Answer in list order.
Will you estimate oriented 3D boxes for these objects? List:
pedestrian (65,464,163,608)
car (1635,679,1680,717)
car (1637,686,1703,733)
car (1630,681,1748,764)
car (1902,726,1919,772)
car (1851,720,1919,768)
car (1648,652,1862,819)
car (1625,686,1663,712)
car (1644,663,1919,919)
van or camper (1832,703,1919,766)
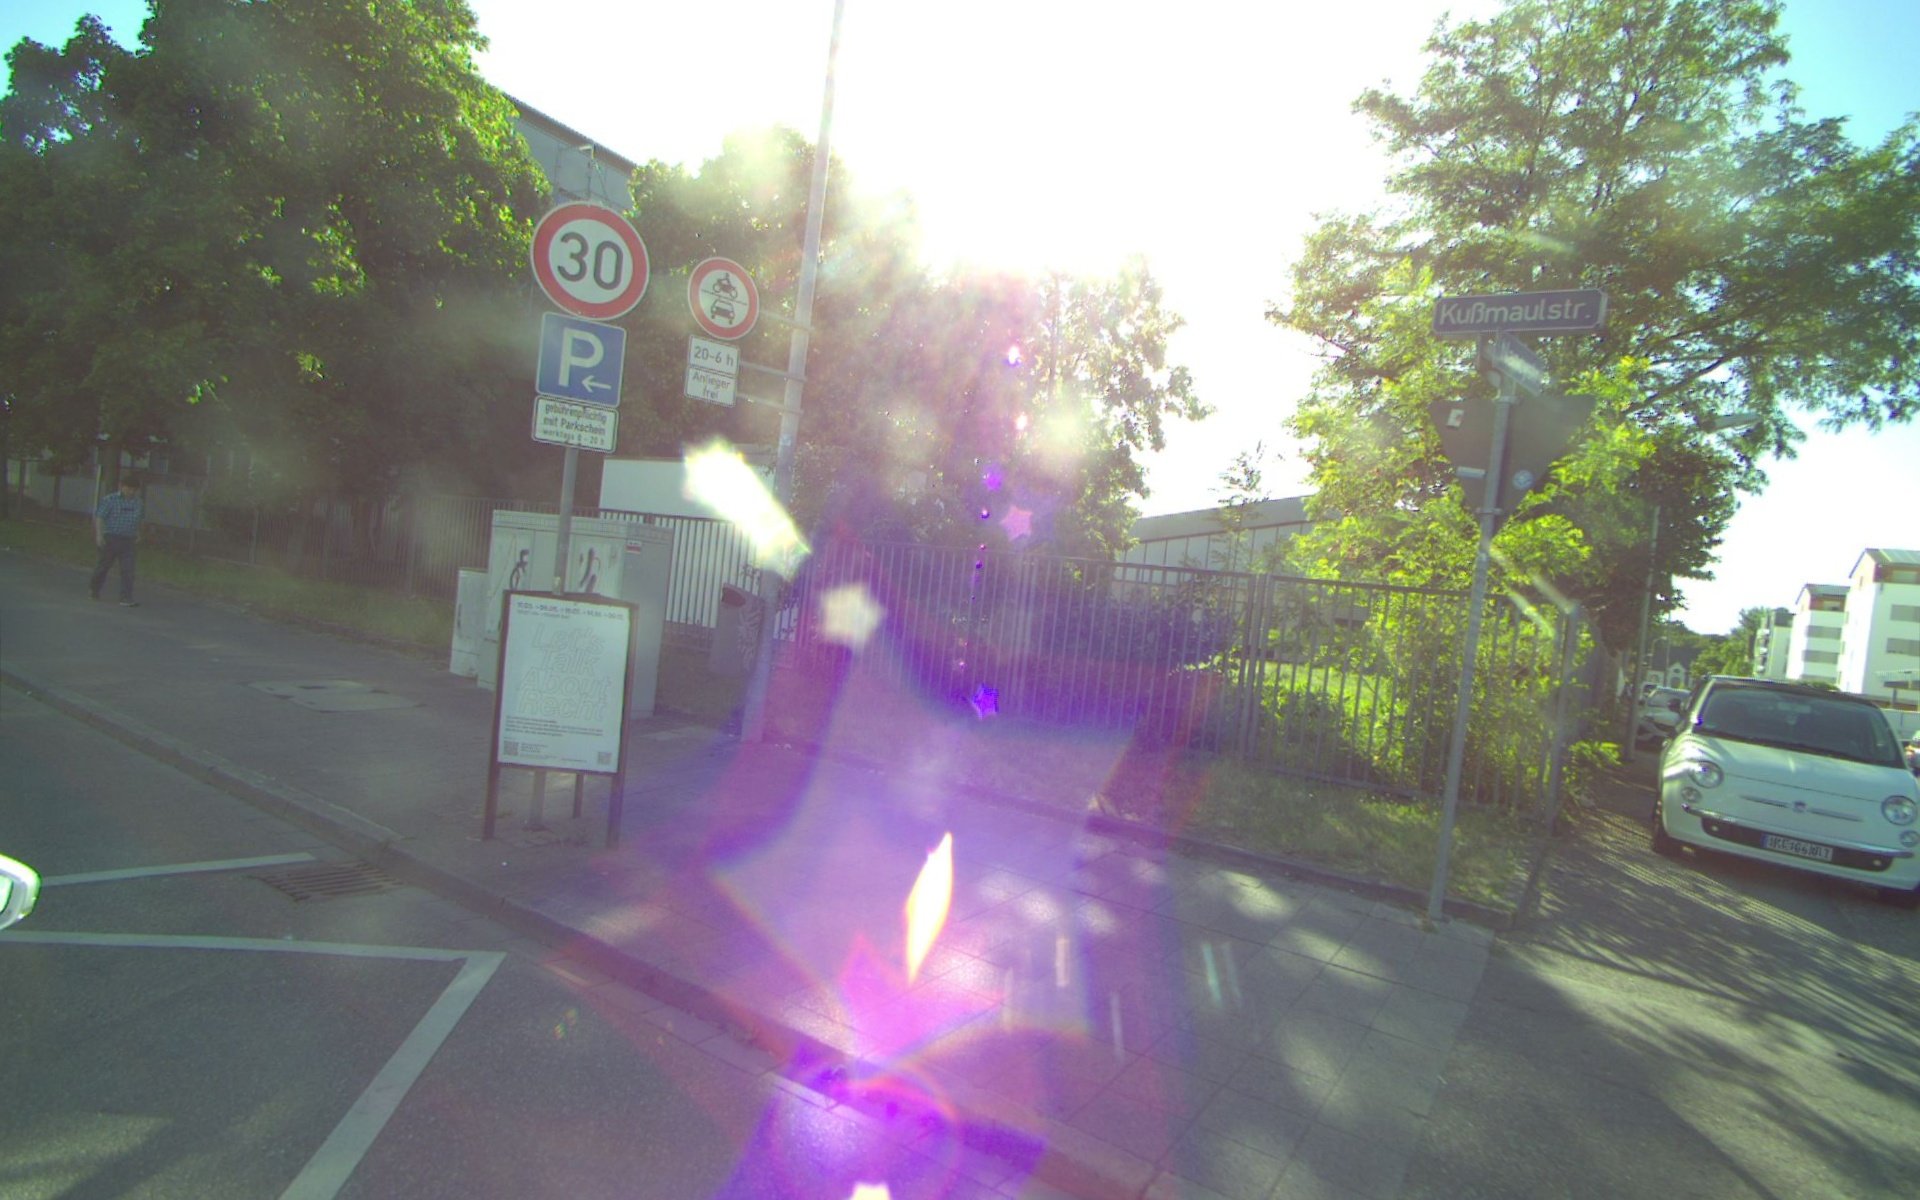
[{"bbox_3d":[-11.135,-0.832,13.244,0.870,1.782,0.717,8,4,34],"label":"pedestrian"},{"bbox_3d":[36.438,5.087,52.626,1.684,1.689,3.989,7,0,34],"label":"car"},{"bbox_3d":[27.369,4.179,38.875,1.683,1.455,3.991,7,0,32],"label":"car"},{"bbox_3d":[16.319,2.672,22.684,1.683,1.455,3.991,7,0,32],"label":"car"},{"bbox_3d":[32.760,5.042,31.379,4.527,1.366,1.995,7,0,33],"label":"car"},{"bbox_3d":[34.822,5.360,35.998,4.021,1.366,1.758,7,1,33],"label":"car"},{"bbox_3d":[10.377,1.678,13.440,1.727,1.657,4.154,7,0,34],"label":"car"},{"bbox_3d":[47.649,6.896,70.142,1.956,1.455,3.989,7,0,34],"label":"car"},{"bbox_3d":[6.847,1.416,8.486,1.574,1.504,3.548,7,0,34],"label":"car"},{"bbox_3d":[37.161,5.376,38.633,5.213,1.982,1.993,7,1,36],"label":"van or camper"}]
